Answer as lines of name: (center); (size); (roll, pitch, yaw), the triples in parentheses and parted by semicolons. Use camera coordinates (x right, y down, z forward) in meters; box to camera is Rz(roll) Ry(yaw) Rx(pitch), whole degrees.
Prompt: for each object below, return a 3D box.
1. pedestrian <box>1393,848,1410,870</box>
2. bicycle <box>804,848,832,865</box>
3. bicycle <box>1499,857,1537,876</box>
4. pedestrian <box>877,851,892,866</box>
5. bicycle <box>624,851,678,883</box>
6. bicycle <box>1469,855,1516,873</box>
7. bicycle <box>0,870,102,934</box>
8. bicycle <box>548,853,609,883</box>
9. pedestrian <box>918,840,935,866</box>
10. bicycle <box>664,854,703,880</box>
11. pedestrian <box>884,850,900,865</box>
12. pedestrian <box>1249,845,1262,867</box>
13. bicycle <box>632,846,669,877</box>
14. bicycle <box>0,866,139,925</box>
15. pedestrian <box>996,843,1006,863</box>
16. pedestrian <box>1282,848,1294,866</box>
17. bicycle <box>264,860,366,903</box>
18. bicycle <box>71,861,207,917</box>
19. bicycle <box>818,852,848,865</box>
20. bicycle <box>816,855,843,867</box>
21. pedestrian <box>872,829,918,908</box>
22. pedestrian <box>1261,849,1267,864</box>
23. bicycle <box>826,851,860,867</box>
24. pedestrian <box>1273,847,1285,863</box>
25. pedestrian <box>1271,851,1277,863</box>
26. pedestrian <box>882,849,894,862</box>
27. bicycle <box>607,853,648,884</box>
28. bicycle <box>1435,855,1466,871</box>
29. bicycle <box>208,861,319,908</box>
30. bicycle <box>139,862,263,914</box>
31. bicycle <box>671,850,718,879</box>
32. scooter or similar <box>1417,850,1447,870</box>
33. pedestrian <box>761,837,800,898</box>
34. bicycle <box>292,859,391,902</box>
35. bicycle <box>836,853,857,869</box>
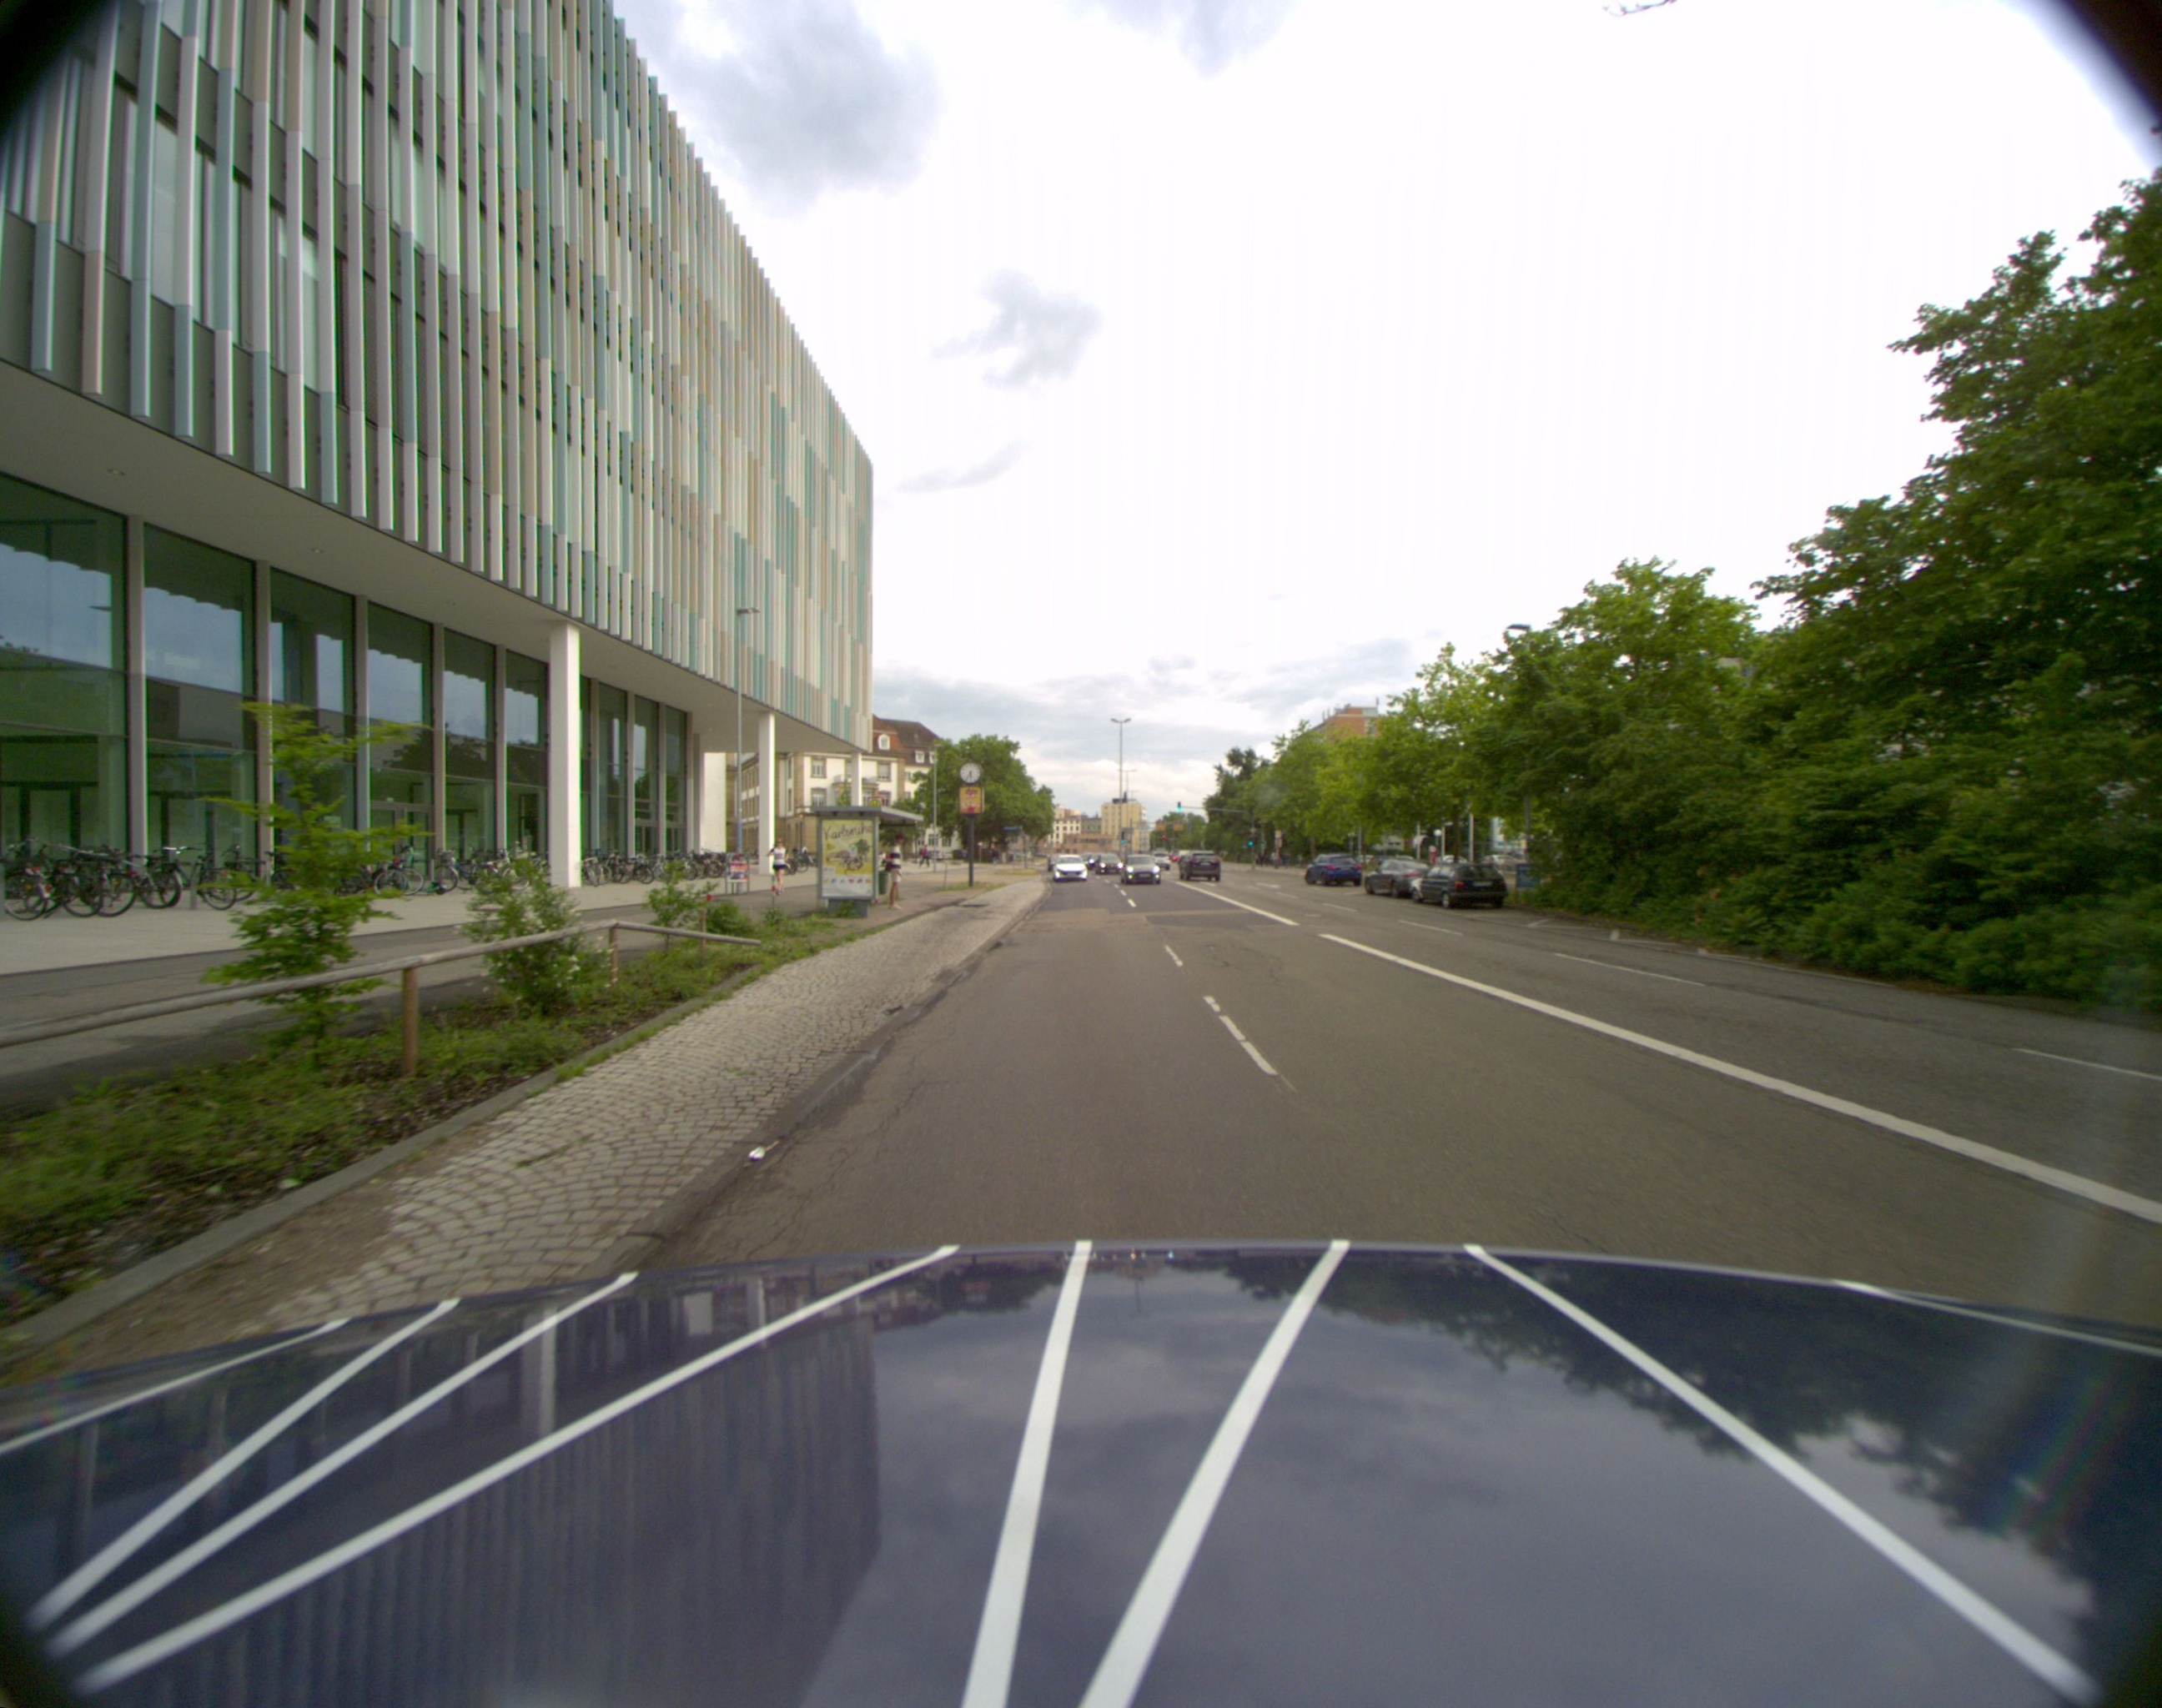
pedestrian: (28.600, 0.426, 67.789); (0.796, 2.002, 1.096); (0, 1, -16)
bicycle: (-20.943, 0.191, 60.540); (2.011, 1.298, 0.644); (2, -1, -21)
bicycle: (33.016, 0.951, 57.425); (2.491, 1.346, 0.721); (0, 1, -3)
pedestrian: (-15.832, 0.356, 61.208); (0.892, 1.186, 0.846); (1, 1, 15)
bicycle: (-15.751, 0.464, 27.818); (1.648, 1.095, 0.572); (2, 1, 4)
bicycle: (27.217, 0.666, 50.315); (2.754, 1.168, 0.721); (0, 1, -3)
bicycle: (-15.466, 0.689, 11.112); (1.610, 0.869, 0.556); (1, 1, 1)
bicycle: (-16.166, 0.437, 24.464); (1.695, 0.941, 0.516); (0, 1, 7)
pedestrian: (-12.566, -0.095, 61.824); (1.185, 2.050, 1.135); (-2, 1, -6)
bicycle: (-15.603, 0.508, 29.818); (1.245, 1.002, 0.550); (2, 1, 5)
pedestrian: (-15.371, 0.263, 61.795); (0.843, 1.199, 0.896); (1, 1, 35)
pedestrian: (16.038, 0.181, 69.801); (0.896, 2.002, 1.009); (0, 1, -1)
bicycle: (-17.283, 0.295, 30.481); (1.981, 1.138, 0.650); (3, 0, 42)
bicycle: (-16.026, 0.641, 12.010); (1.610, 0.869, 0.556); (1, 1, 1)
pedestrian: (-8.156, -0.089, 77.226); (0.844, 2.002, 0.894); (0, 1, 3)
pedestrian: (21.014, 0.313, 77.286); (0.897, 1.793, 0.935); (1, 1, -2)
bicycle: (-15.946, 0.568, 15.831); (1.607, 0.879, 0.516); (0, 1, 1)
bicycle: (-15.679, 0.574, 12.662); (1.610, 0.869, 0.556); (2, 1, 1)
bicycle: (-18.537, 0.351, 56.888); (1.964, 0.996, 0.772); (0, 1, -41)
bicycle: (-19.029, 0.518, 57.614); (0.670, 0.893, 1.850); (1, 1, 42)
pedestrian: (-4.905, 0.381, 20.073); (0.914, 2.001, 0.854); (2, -1, 0)
pedestrian: (21.241, 0.273, 88.214); (0.590, 1.685, 0.653); (1, 1, 4)
bicycle: (-16.767, 0.380, 53.512); (2.188, 1.109, 0.734); (0, 1, -42)
pedestrian: (25.009, 0.142, 95.921); (1.043, 2.002, 1.098); (-2, 1, -30)
pedestrian: (24.614, 0.367, 96.746); (0.503, 1.597, 0.601); (1, 1, -11)
pedestrian: (-18.160, 0.156, 71.496); (0.911, 1.250, 0.879); (-1, 1, 4)
bicycle: (-15.974, 0.492, 26.764); (1.200, 1.043, 0.434); (1, 1, 7)
bicycle: (26.992, 0.625, 55.512); (2.037, 1.147, 0.720); (0, 1, -17)
bicycle: (-15.984, 0.587, 14.874); (1.610, 0.869, 0.556); (1, 1, 1)
bicycle: (-15.825, 0.600, 13.681); (1.610, 0.869, 0.556); (1, 1, 1)
bicycle: (-15.531, 0.416, 30.532); (1.647, 1.085, 0.573); (3, 1, 9)
scooter or similar: (22.073, 0.386, 47.768); (1.578, 1.236, 0.566); (0, 1, 1)
pedestrian: (-9.242, 0.399, 23.398); (0.845, 1.825, 0.894); (0, 1, -2)
bicycle: (-15.942, 0.561, 16.399); (1.610, 0.869, 0.556); (1, 1, 1)
bicycle: (-15.840, 0.440, 51.348); (0.640, 1.055, 1.841); (-1, 0, 6)
